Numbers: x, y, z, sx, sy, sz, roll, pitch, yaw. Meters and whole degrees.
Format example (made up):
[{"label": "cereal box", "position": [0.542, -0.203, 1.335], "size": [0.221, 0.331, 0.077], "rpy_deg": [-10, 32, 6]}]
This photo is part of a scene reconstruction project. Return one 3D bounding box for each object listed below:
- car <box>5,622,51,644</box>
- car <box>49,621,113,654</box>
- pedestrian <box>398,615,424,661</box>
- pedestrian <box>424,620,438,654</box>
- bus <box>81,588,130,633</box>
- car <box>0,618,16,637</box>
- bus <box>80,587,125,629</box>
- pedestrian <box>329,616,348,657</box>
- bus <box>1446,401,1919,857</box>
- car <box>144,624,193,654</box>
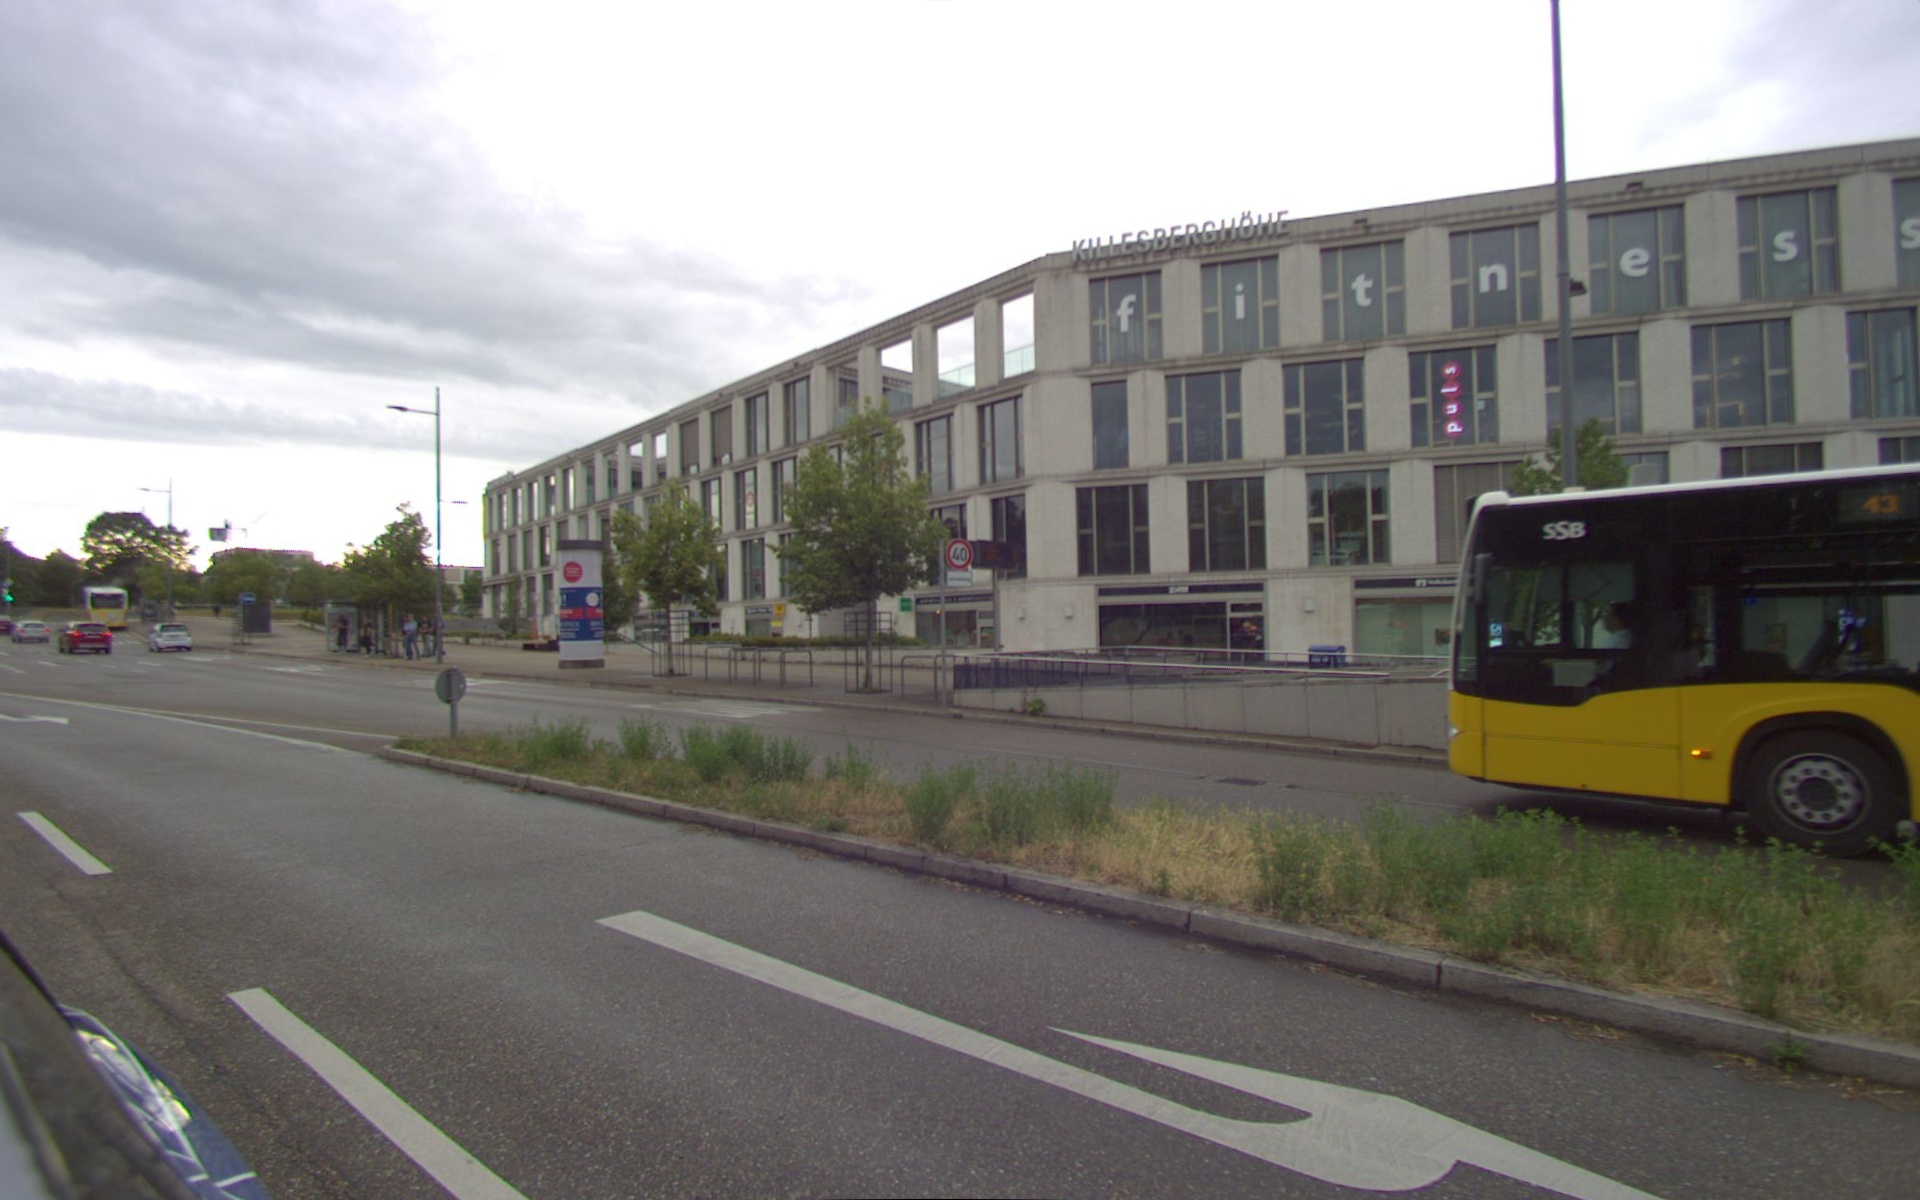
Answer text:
[{"label": "car", "position": [-61.658, 2.185, 66.936], "size": [3.876, 1.427, 1.744], "rpy_deg": [-1, -4, 41]}, {"label": "car", "position": [-46.661, 1.987, 53.701], "size": [4.735, 1.696, 1.834], "rpy_deg": [-1, -4, 41]}, {"label": "pedestrian", "position": [-22.236, 1.532, 40.997], "size": [0.746, 1.856, 0.745], "rpy_deg": [-1, -1, 43]}, {"label": "pedestrian", "position": [-23.364, 1.619, 44.707], "size": [0.510, 1.462, 0.421], "rpy_deg": [-1, -1, 41]}, {"label": "bus", "position": [-70.387, 0.774, 83.322], "size": [2.787, 3.498, 8.242], "rpy_deg": [-1, 2, -42]}, {"label": "car", "position": [-73.016, 2.072, 76.548], "size": [4.463, 1.427, 1.812], "rpy_deg": [-1, -4, 41]}, {"label": "bus", "position": [-76.467, 0.614, 90.160], "size": [2.787, 3.498, 9.988], "rpy_deg": [-1, 2, -42]}, {"label": "pedestrian", "position": [-28.508, 1.687, 46.413], "size": [0.755, 1.856, 0.502], "rpy_deg": [-1, -1, 40]}, {"label": "bus", "position": [8.844, 0.180, 6.688], "size": [9.761, 3.127, 2.855], "rpy_deg": [-2, -2, 45]}, {"label": "car", "position": [-44.066, 2.156, 56.308], "size": [2.971, 1.519, 1.597], "rpy_deg": [0, 1, 41]}]
